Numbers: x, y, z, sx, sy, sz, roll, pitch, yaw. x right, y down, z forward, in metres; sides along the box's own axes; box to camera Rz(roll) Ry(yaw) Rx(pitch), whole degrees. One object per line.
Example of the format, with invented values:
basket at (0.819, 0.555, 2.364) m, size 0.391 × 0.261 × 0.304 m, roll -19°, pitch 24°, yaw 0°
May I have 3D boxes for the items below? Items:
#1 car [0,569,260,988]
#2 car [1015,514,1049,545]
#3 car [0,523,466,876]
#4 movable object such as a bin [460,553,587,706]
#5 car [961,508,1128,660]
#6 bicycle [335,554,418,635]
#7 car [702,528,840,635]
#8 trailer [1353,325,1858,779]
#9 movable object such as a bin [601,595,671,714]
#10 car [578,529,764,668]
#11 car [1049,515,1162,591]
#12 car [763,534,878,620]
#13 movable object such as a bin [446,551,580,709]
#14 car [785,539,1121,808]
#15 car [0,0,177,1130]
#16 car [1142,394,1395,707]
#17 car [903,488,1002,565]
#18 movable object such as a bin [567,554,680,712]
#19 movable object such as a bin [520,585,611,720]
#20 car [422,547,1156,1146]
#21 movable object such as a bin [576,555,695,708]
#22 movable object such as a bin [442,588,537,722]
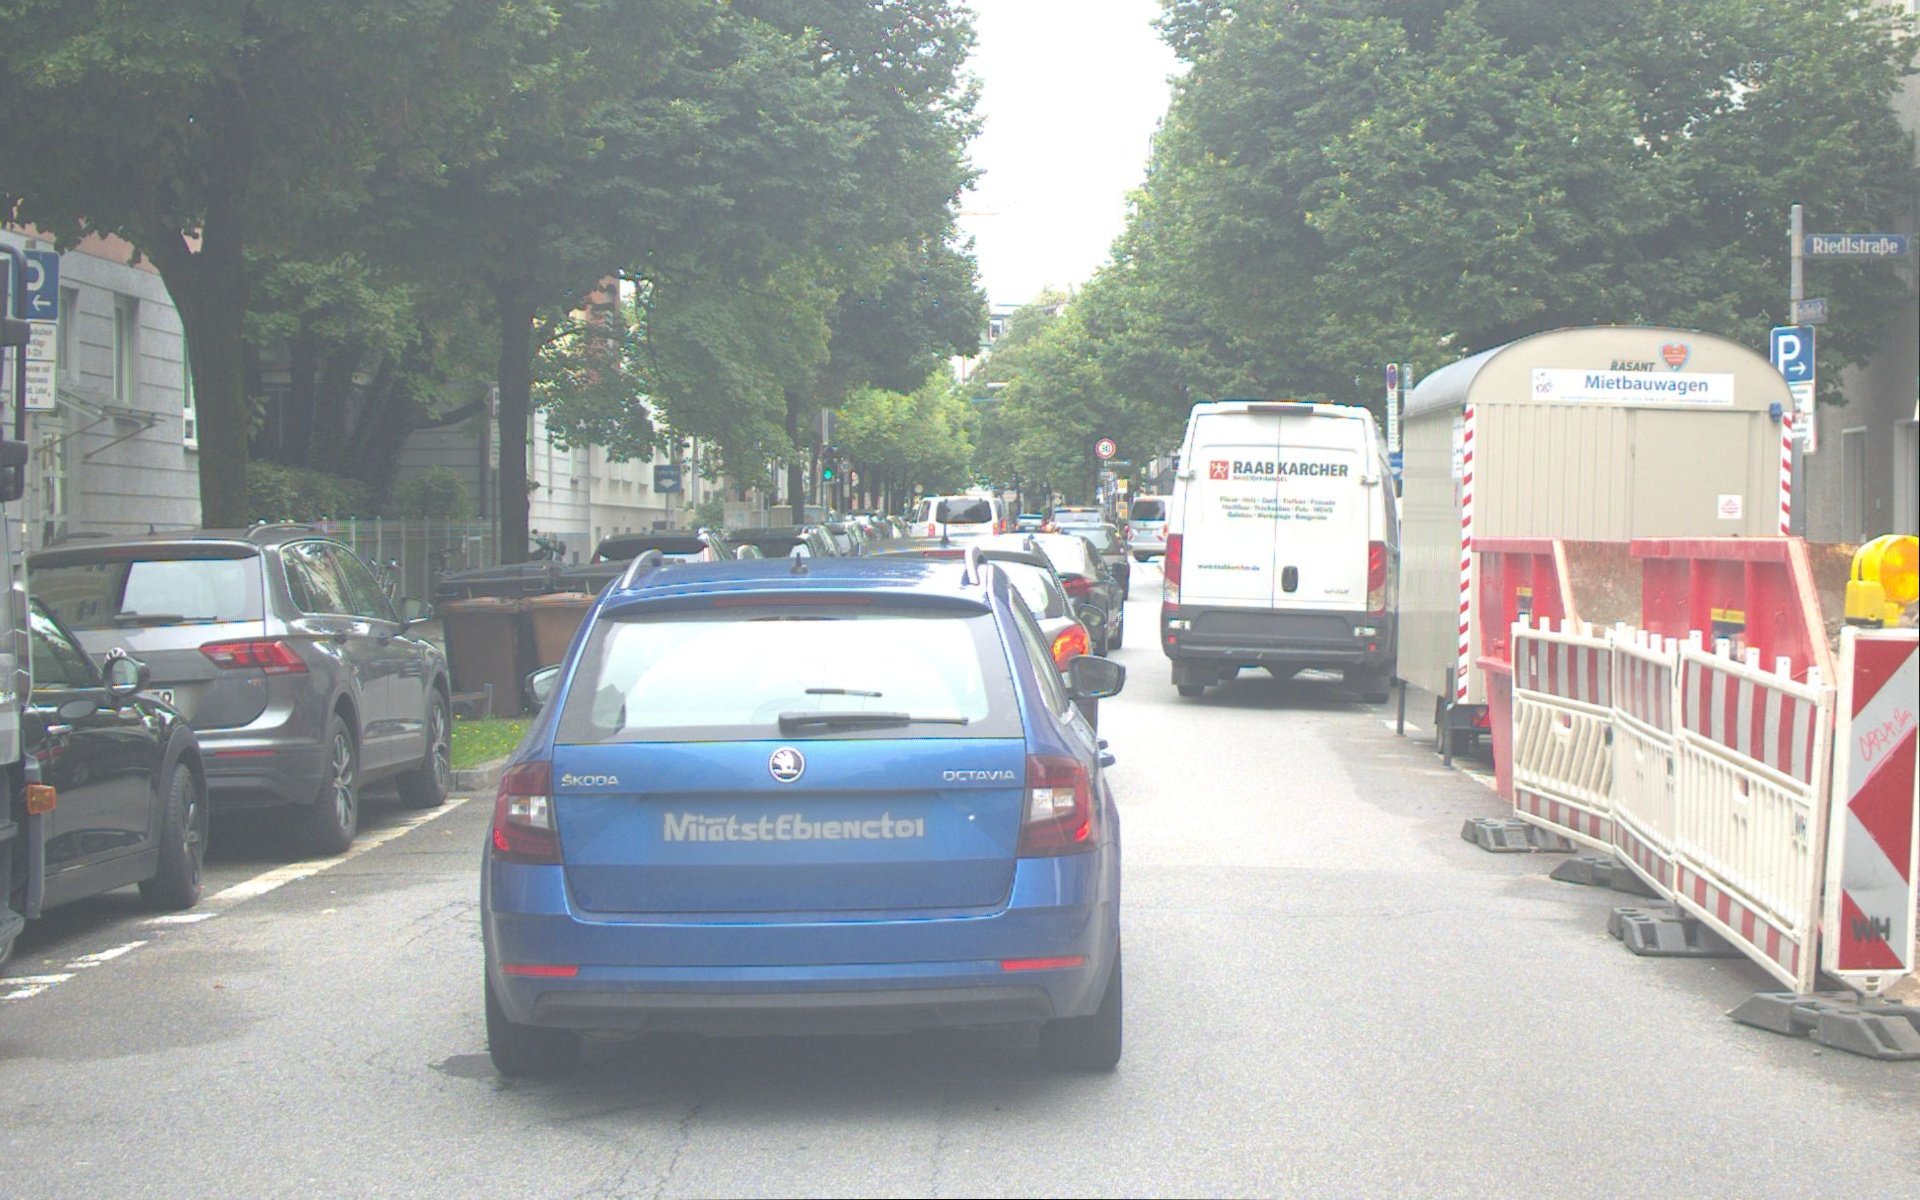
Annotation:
car at (-4.027, 0.599, 13.286) m, size 1.699 × 1.404 × 3.708 m, roll 0°, pitch 1°, yaw 3°
car at (4.093, -4.030, 196.088) m, size 1.867 × 1.733 × 4.347 m, roll -1°, pitch 1°, yaw 1°
car at (-3.878, 0.424, 18.090) m, size 1.785 × 1.622 × 4.185 m, roll -1°, pitch 1°, yaw 2°
movable object such as a bin at (-4.110, 0.263, 32.429) m, size 1.057 × 1.372 × 1.096 m, roll -2°, pitch 1°, yaw -3°
car at (0.992, -0.237, 41.498) m, size 1.867 × 1.690 × 4.347 m, roll 1°, pitch 2°, yaw 1°
bicycle at (-8.080, -0.090, 47.698) m, size 0.635 × 1.063 × 2.387 m, roll -1°, pitch 1°, yaw 2°
car at (-2.701, -0.299, 49.928) m, size 1.812 × 1.473 × 4.000 m, roll 1°, pitch 1°, yaw -1°
trailer at (4.490, -0.345, 25.282) m, size 2.502 × 2.830 × 6.901 m, roll 1°, pitch 1°, yaw 1°
movable object such as a bin at (-2.874, 0.478, 30.530) m, size 0.546 × 1.017 × 0.636 m, roll -2°, pitch 1°, yaw -2°
car at (-3.240, -0.060, 39.208) m, size 1.812 × 1.473 × 4.000 m, roll 1°, pitch 1°, yaw -1°
car at (2.770, -0.925, 66.142) m, size 1.867 × 1.343 × 4.348 m, roll 1°, pitch 2°, yaw -1°
car at (-2.484, -0.438, 61.968) m, size 1.812 × 1.473 × 4.000 m, roll 1°, pitch 1°, yaw 1°
movable object such as a bin at (-4.061, 0.260, 31.327) m, size 1.081 × 1.372 × 1.084 m, roll -2°, pitch 1°, yaw -3°
car at (0.044, 0.370, 20.485) m, size 1.741 × 1.417 × 3.663 m, roll 1°, pitch 1°, yaw 4°
car at (-3.940, -0.487, 6.403) m, size 2.812 × 3.804 × 8.723 m, roll 0°, pitch 1°, yaw 1°
car at (3.000, -0.456, 32.417) m, size 2.113 × 2.654 × 5.498 m, roll 1°, pitch 1°, yaw 7°
car at (-0.222, -1.876, 87.192) m, size 1.867 × 1.863 × 4.348 m, roll 1°, pitch 2°, yaw -8°
movable object such as a bin at (-3.063, 0.292, 31.386) m, size 0.918 × 1.372 × 1.080 m, roll -2°, pitch 1°, yaw -3°
movable object such as a bin at (-3.493, 0.458, 30.484) m, size 0.711 × 1.144 × 0.636 m, roll -2°, pitch 1°, yaw -2°
car at (-0.428, 0.571, 10.580) m, size 1.789 × 1.455 × 4.315 m, roll 0°, pitch 1°, yaw 0°
movable object such as a bin at (-3.052, 0.284, 32.484) m, size 1.020 × 1.372 × 1.104 m, roll -2°, pitch 1°, yaw -3°
movable object such as a bin at (-4.162, 0.482, 30.446) m, size 0.721 × 1.134 × 0.658 m, roll -2°, pitch 1°, yaw -2°
